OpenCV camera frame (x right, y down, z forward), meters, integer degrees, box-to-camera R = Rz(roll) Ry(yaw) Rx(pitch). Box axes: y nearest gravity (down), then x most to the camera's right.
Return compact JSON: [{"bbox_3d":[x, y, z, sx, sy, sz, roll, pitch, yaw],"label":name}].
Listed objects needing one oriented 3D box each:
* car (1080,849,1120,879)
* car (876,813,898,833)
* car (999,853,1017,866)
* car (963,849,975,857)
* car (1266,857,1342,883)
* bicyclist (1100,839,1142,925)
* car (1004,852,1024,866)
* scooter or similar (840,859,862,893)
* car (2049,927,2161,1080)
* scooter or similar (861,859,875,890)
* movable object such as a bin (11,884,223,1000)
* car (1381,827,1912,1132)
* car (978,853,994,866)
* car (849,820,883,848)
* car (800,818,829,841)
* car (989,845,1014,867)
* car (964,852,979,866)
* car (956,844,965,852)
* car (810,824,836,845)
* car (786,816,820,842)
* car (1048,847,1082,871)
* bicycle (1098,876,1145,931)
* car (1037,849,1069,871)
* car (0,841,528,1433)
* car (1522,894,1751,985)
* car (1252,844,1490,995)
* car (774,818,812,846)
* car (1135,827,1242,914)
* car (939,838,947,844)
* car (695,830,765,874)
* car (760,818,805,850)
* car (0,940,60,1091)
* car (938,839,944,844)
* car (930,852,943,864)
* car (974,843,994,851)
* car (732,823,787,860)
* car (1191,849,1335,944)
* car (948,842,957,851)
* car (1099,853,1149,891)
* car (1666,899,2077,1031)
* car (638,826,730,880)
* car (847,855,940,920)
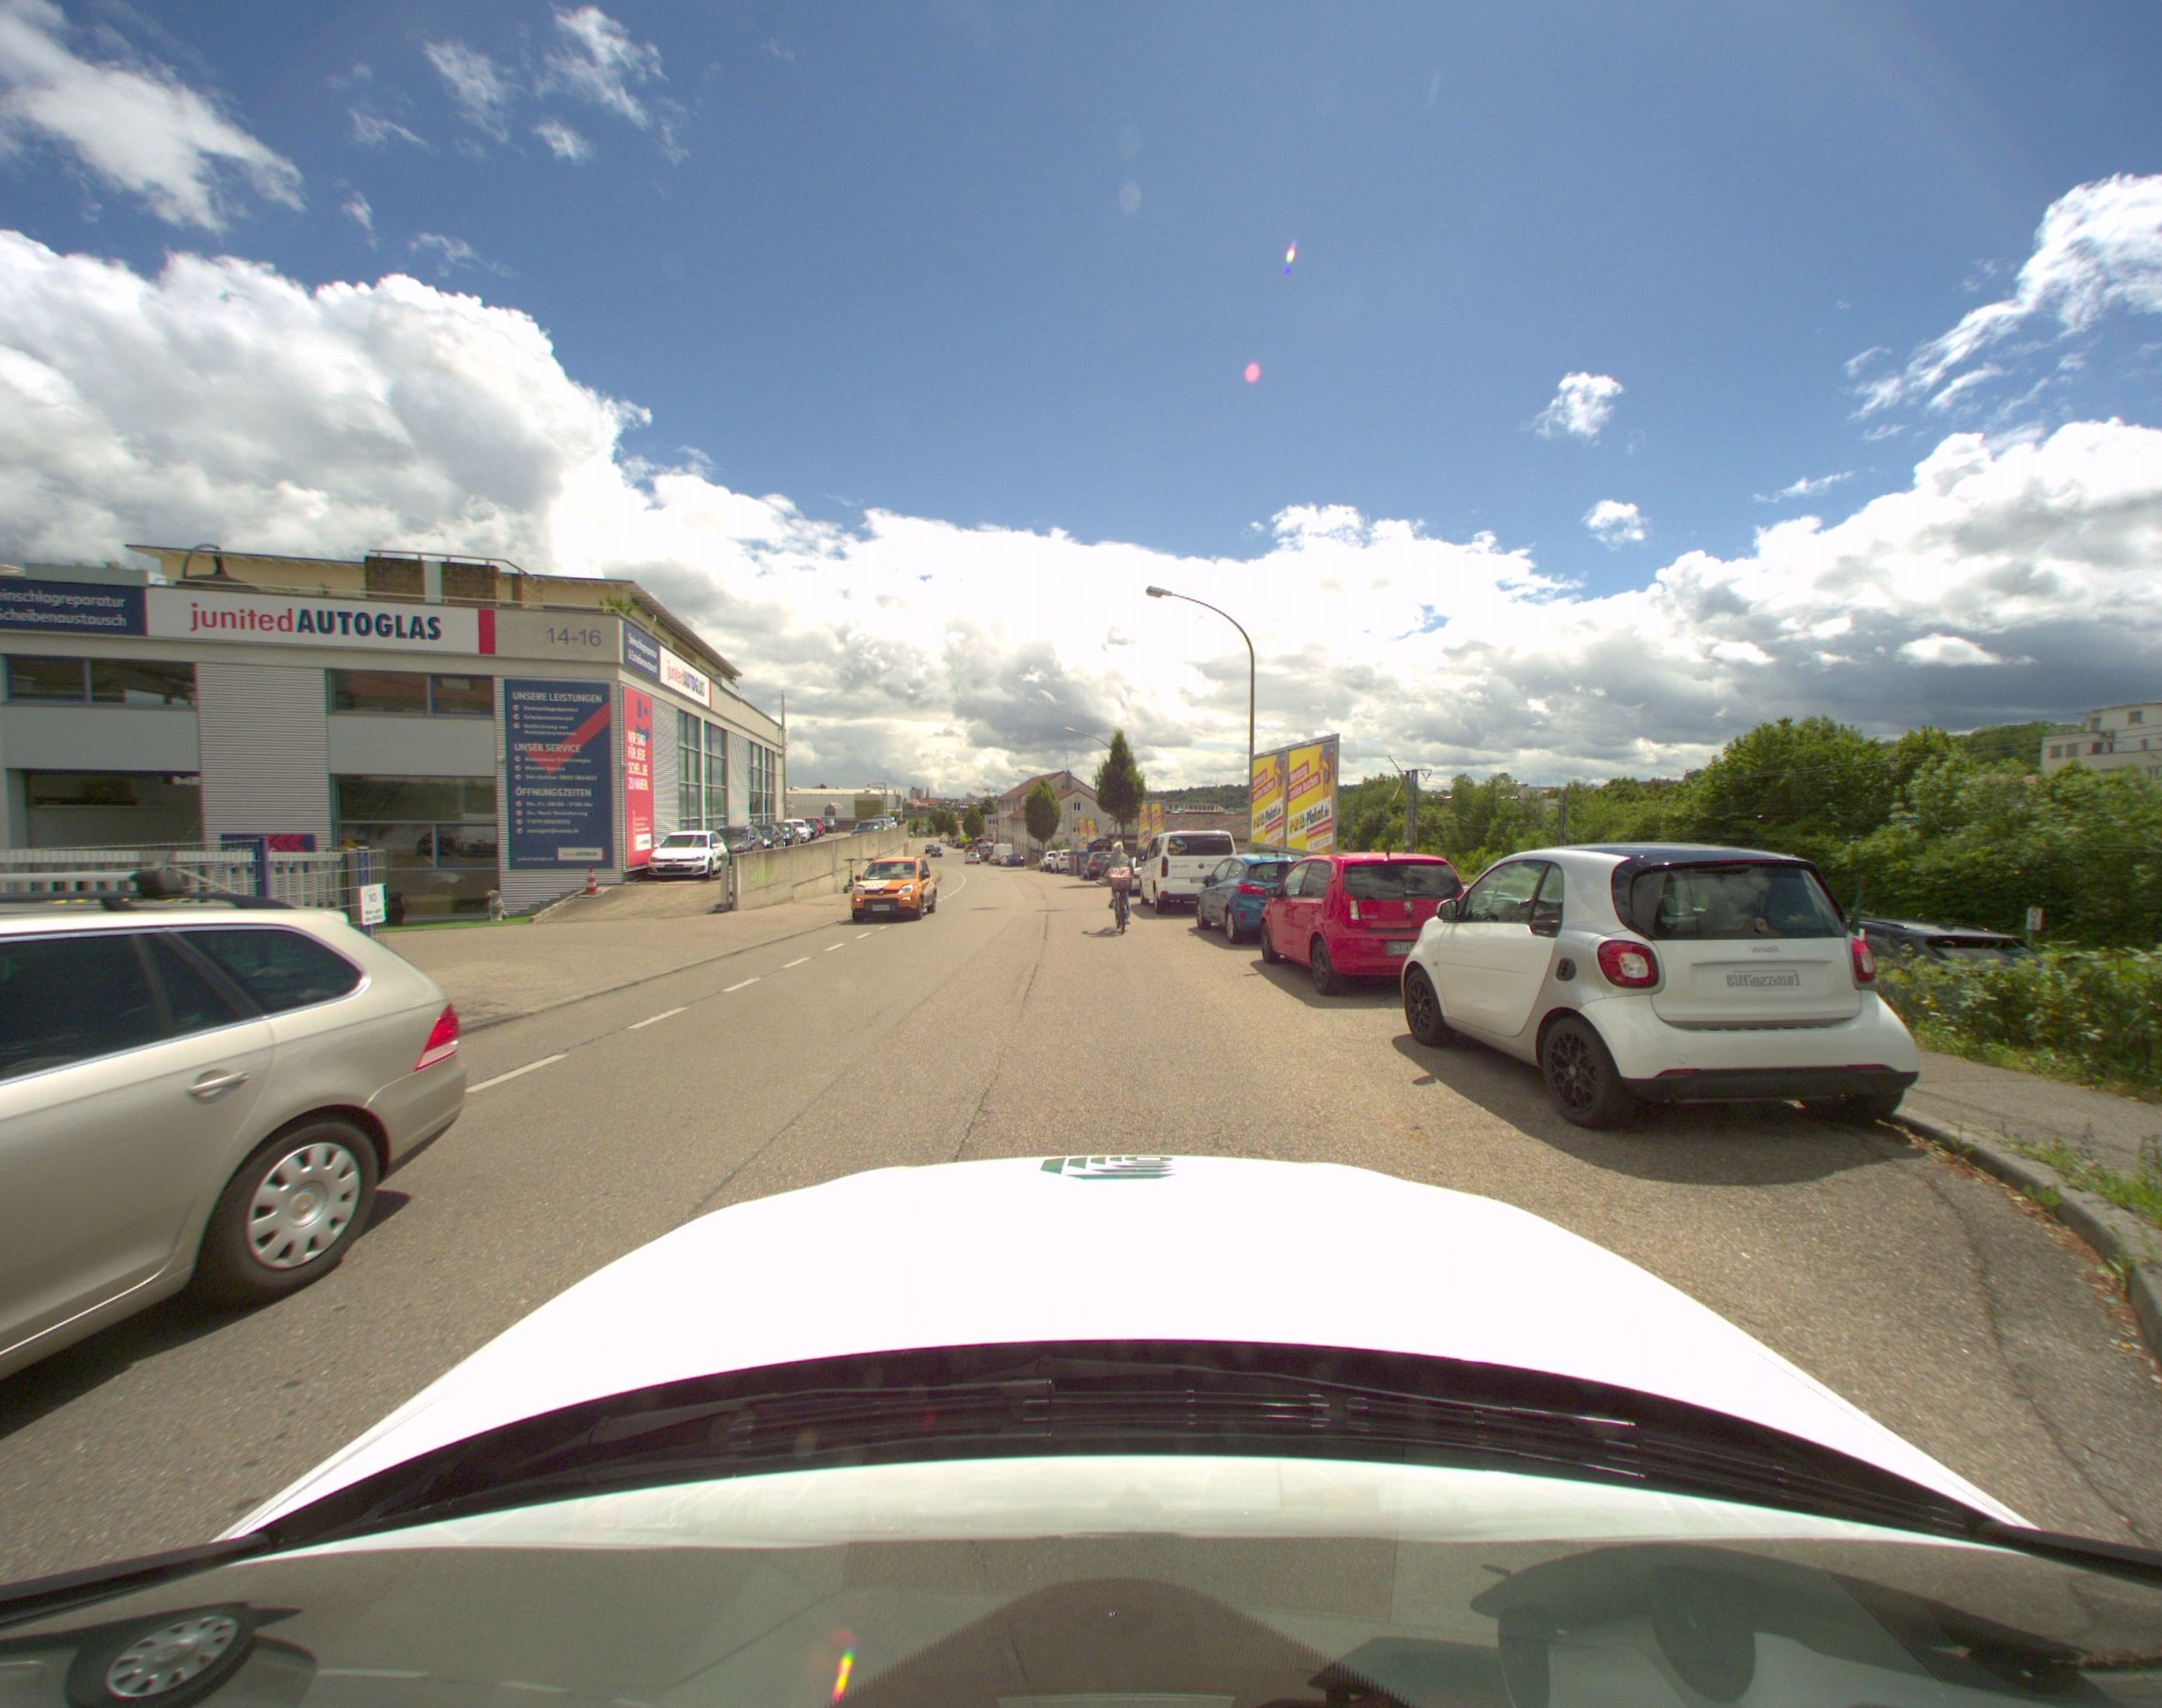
[{"bbox_3d":[0.983,0.508,43.870,1.653,1.485,4.037,-2,0,-5],"label":"car"},{"bbox_3d":[-17.649,-2.767,74.104,1.807,1.637,4.088,0,-1,-11],"label":"car"},{"bbox_3d":[-8.555,0.637,95.118,1.595,1.510,3.772,0,-1,-14],"label":"car"},{"bbox_3d":[-20.639,-0.187,149.886,1.794,1.465,4.686,0,1,-14],"label":"car"},{"bbox_3d":[14.105,1.021,51.725,4.424,1.554,2.003,-1,0,6],"label":"car"},{"bbox_3d":[0.765,0.529,15.819,0.738,1.626,0.730,0,-1,-3],"label":"bicyclist"},{"bbox_3d":[-7.456,0.548,90.278,1.568,1.510,4.075,0,-1,-13],"label":"car"},{"bbox_3d":[-8.682,0.823,30.798,0.556,1.276,1.303,0,-1,-4],"label":"scooter or similar"},{"bbox_3d":[11.046,1.434,6.276,1.809,1.351,4.556,-1,0,1],"label":"car"},{"bbox_3d":[-9.038,0.863,34.565,0.520,1.276,1.377,2,-1,-14],"label":"scooter or similar"},{"bbox_3d":[-12.592,1.112,10.710,1.218,1.306,1.231,-4,0,-3],"label":"movable object such as a bin"},{"bbox_3d":[3.409,0.632,5.560,1.589,1.523,2.855,0,0,-2],"label":"car"},{"bbox_3d":[-13.633,0.790,116.906,1.707,1.510,5.064,2,2,-14],"label":"car"},{"bbox_3d":[-13.625,-1.218,51.802,1.807,1.637,4.088,0,-1,-11],"label":"car"},{"bbox_3d":[-21.123,-1.909,64.676,1.808,1.637,4.095,0,-1,-13],"label":"car"},{"bbox_3d":[-9.944,0.260,100.961,2.036,2.641,7.247,0,-1,-14],"label":"car"},{"bbox_3d":[-14.199,0.601,105.347,1.568,1.786,3.589,0,-1,-13],"label":"car"},{"bbox_3d":[-26.095,-1.241,175.909,1.680,1.638,4.107,0,1,-11],"label":"car"},{"bbox_3d":[-22.740,-1.699,71.828,1.808,1.637,4.095,0,-1,-13],"label":"car"},{"bbox_3d":[-19.198,-1.697,56.328,1.808,1.637,4.095,0,-1,-13],"label":"car"},{"bbox_3d":[-1.187,0.363,58.664,1.687,1.659,4.461,-1,0,-12],"label":"car"},{"bbox_3d":[0.762,0.931,15.854,0.738,0.975,1.730,-1,0,-3],"label":"bicycle"},{"bbox_3d":[-2.264,0.465,64.347,1.842,1.565,4.449,-2,0,-10],"label":"car"},{"bbox_3d":[-3.623,0.737,1.966,1.637,1.532,4.222,0,0,1],"label":"car"},{"bbox_3d":[11.432,1.675,17.225,1.809,1.441,4.556,-1,0,1],"label":"car"},{"bbox_3d":[3.230,0.646,9.793,1.588,1.481,3.499,0,0,-1],"label":"car"},{"bbox_3d":[-18.160,-1.347,51.467,1.808,1.637,4.095,0,-1,-13],"label":"car"},{"bbox_3d":[2.672,0.377,21.616,1.969,2.004,5.543,0,0,-1],"label":"car"},{"bbox_3d":[-39.533,-3.632,233.105,1.705,1.527,3.717,3,1,-17],"label":"car"},{"bbox_3d":[-13.924,-0.075,32.490,1.808,1.637,4.095,0,-1,-13],"label":"car"},{"bbox_3d":[-16.643,-1.081,45.545,1.808,1.637,4.095,0,-1,-13],"label":"car"},{"bbox_3d":[-11.543,1.625,6.911,1.425,1.459,3.364,0,-1,3],"label":"car"},{"bbox_3d":[-41.856,-3.657,243.026,1.702,1.527,3.724,0,1,-11],"label":"car"},{"bbox_3d":[-23.188,0.633,130.637,1.629,1.817,3.761,-2,0,-15],"label":"car"},{"bbox_3d":[-20.280,-1.392,170.687,4.022,1.462,1.736,-1,3,39],"label":"car"},{"bbox_3d":[-15.240,-0.559,38.825,1.808,1.637,4.095,0,-1,-13],"label":"car"},{"bbox_3d":[3.090,0.659,14.605,1.589,1.450,3.976,0,0,-2],"label":"car"},{"bbox_3d":[-30.032,-1.836,190.230,1.871,1.990,5.121,0,1,-13],"label":"car"},{"bbox_3d":[1.632,0.676,32.415,1.633,1.387,4.201,0,0,-2],"label":"car"},{"bbox_3d":[11.295,1.481,12.233,1.809,1.351,4.556,-1,0,1],"label":"car"},{"bbox_3d":[-12.952,-0.010,26.844,1.808,1.637,4.095,0,-1,-13],"label":"car"},{"bbox_3d":[-4.673,0.788,20.752,1.596,1.490,3.679,0,-1,-1],"label":"car"}]
